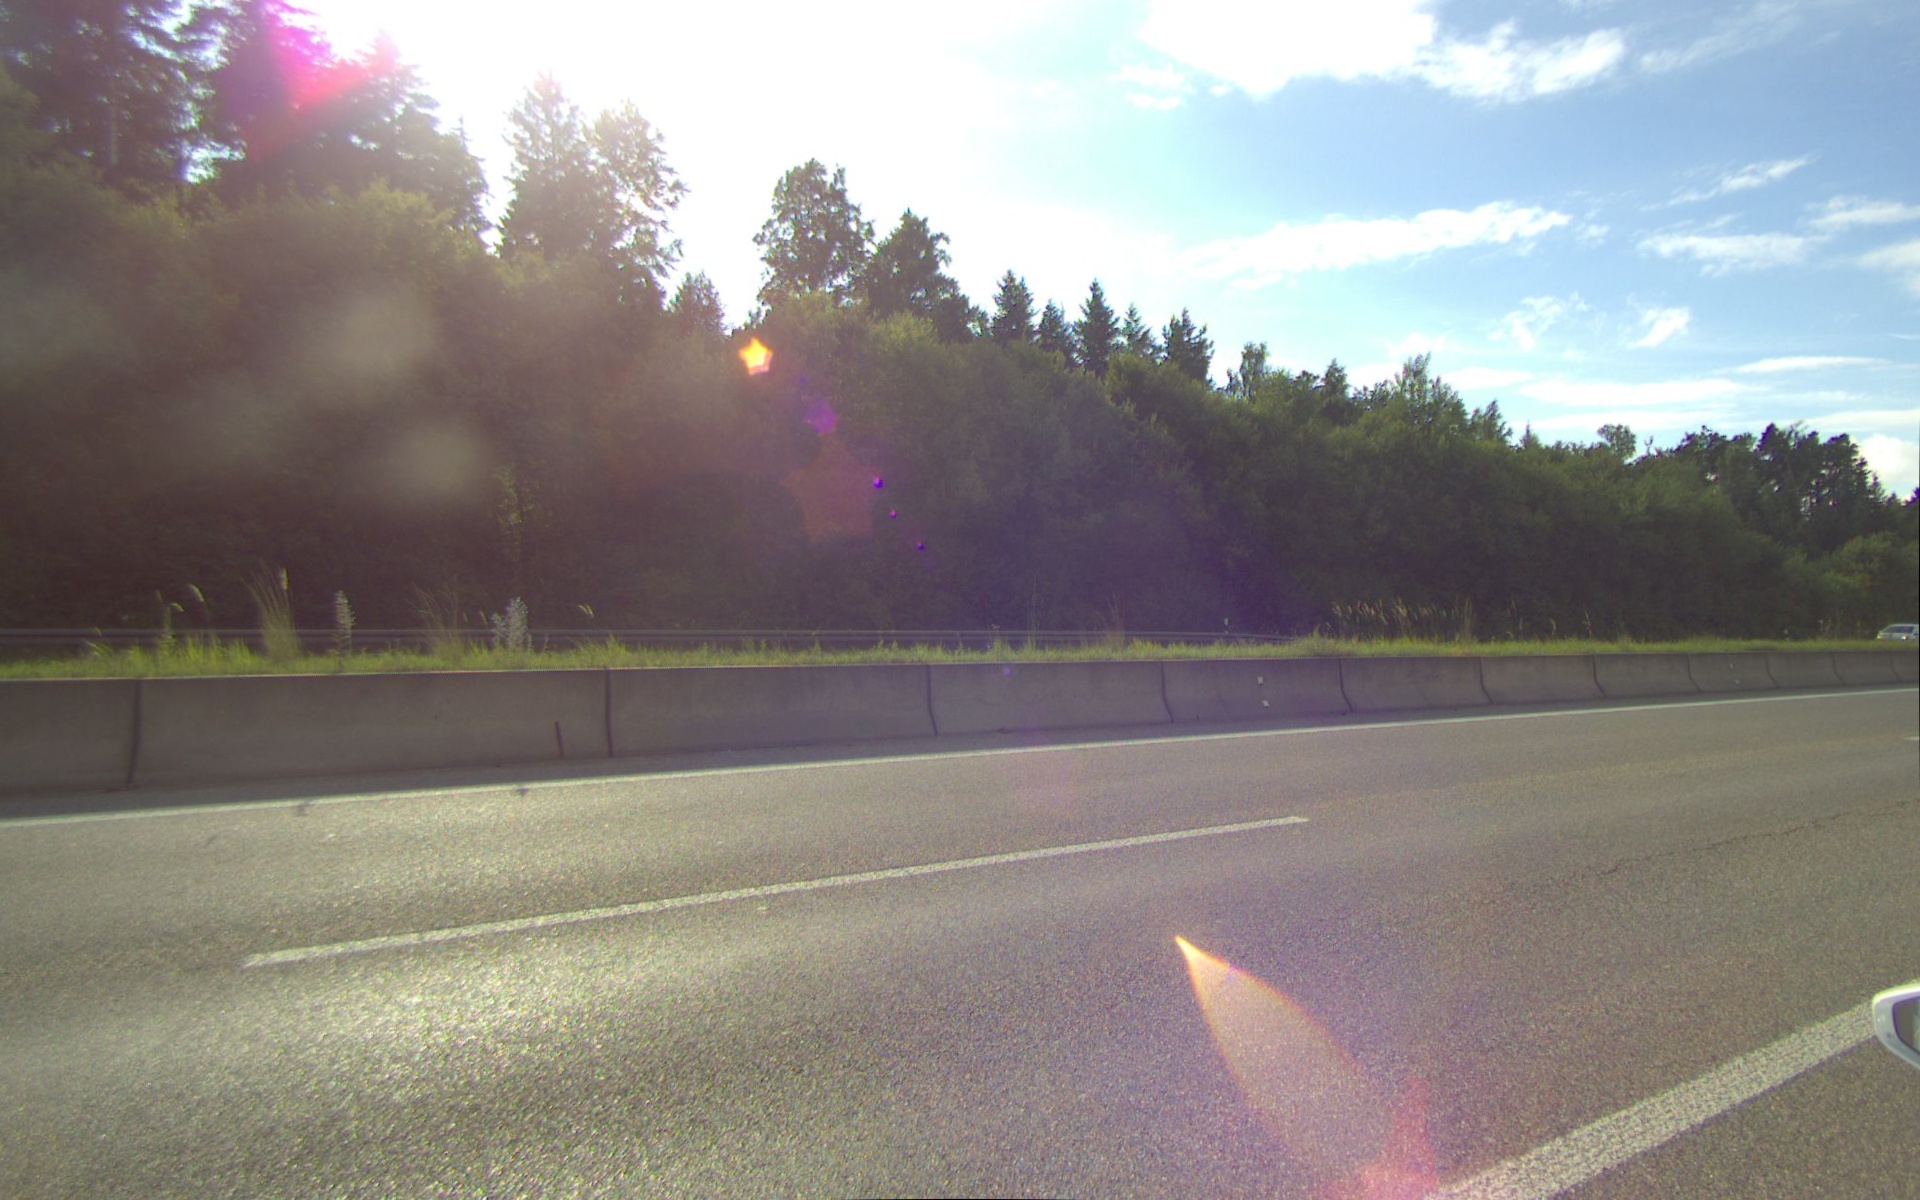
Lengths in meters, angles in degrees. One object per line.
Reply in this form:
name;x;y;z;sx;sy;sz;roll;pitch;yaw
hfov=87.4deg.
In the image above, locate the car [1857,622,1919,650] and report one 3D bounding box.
car;54.594;2.084;58.796;4.276;1.559;1.941;1;0;-30
